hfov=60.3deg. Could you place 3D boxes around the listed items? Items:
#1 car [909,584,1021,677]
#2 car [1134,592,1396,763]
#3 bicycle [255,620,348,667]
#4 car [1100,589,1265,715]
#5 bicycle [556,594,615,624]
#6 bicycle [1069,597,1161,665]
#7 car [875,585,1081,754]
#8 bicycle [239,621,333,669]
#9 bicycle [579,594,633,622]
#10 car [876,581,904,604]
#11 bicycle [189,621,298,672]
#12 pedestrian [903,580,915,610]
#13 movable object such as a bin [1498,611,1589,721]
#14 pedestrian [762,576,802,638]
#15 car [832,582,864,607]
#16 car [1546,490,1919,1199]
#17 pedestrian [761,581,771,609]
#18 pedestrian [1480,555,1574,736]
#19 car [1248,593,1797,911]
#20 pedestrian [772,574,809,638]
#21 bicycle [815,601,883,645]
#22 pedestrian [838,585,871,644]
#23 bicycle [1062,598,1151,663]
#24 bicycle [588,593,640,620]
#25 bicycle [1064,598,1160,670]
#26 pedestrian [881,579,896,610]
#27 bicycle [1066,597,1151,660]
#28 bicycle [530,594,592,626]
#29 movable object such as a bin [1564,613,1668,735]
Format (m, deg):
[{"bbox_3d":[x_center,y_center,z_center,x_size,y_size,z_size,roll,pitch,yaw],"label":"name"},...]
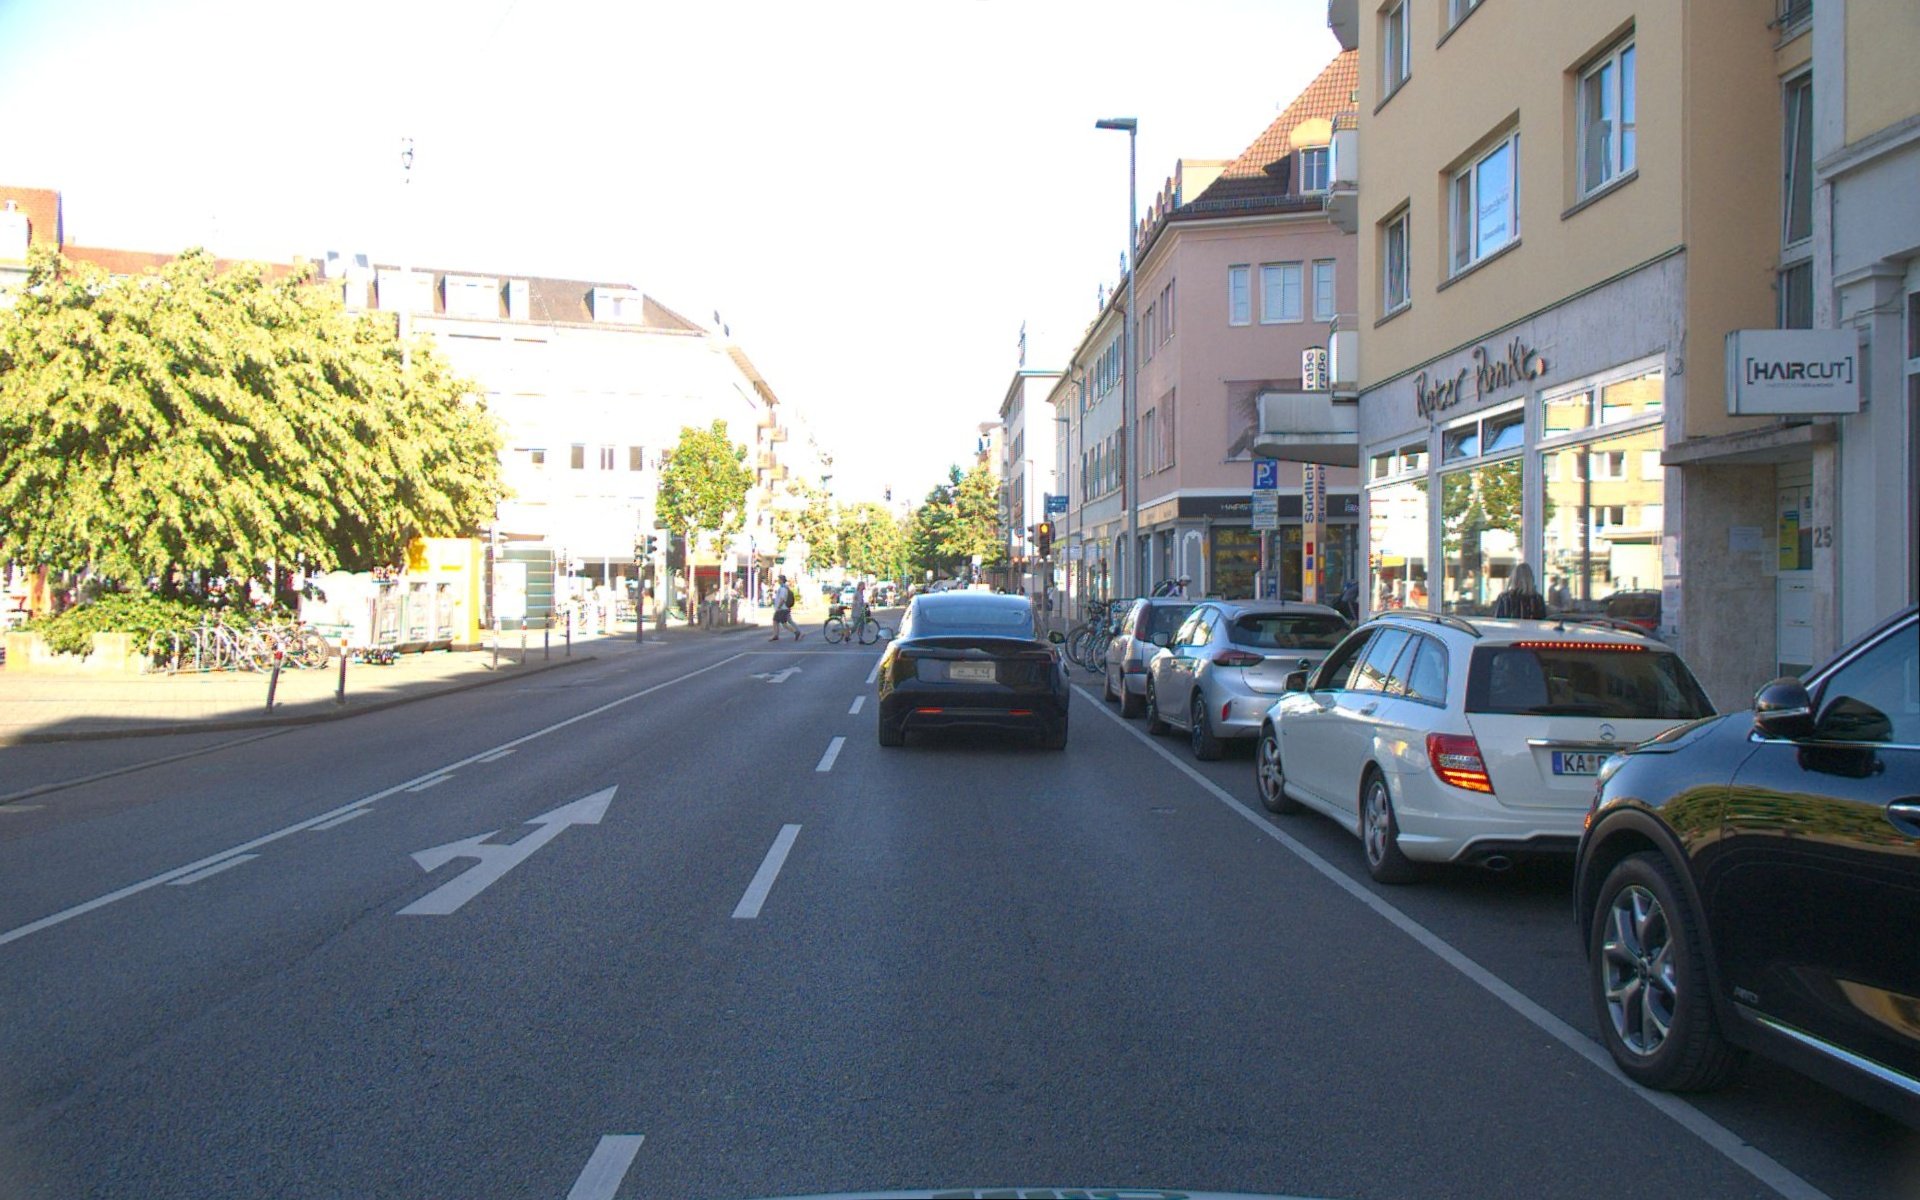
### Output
[{"bbox_3d":[0.090,0.484,28.754,1.812,1.480,3.786,1,0,0],"label":"car"},{"bbox_3d":[2.859,0.666,16.367,1.637,1.452,4.075,1,0,-3],"label":"car"},{"bbox_3d":[-11.635,0.767,29.246,1.442,0.782,0.475,1,0,2],"label":"bicycle"},{"bbox_3d":[2.728,0.589,21.002,1.588,1.419,3.886,1,0,0],"label":"car"},{"bbox_3d":[-14.152,0.339,62.488,2.040,1.123,0.806,1,0,-1],"label":"bicycle"},{"bbox_3d":[2.809,0.555,30.010,1.595,1.180,0.432,-1,0,-2],"label":"bicycle"},{"bbox_3d":[0.171,0.601,16.534,1.812,1.480,3.786,1,0,0],"label":"car"},{"bbox_3d":[-11.682,0.776,28.686,1.442,0.782,0.441,1,0,4],"label":"bicycle"},{"bbox_3d":[-14.394,0.325,67.260,2.040,1.123,0.806,1,0,-1],"label":"bicycle"},{"bbox_3d":[-5.365,-0.594,126.499,2.009,1.757,4.651,1,0,-3],"label":"car"},{"bbox_3d":[-11.820,0.761,27.295,1.621,0.782,0.475,1,0,8],"label":"bicycle"},{"bbox_3d":[-3.458,-0.349,111.804,0.614,2.049,0.559,1,0,24],"label":"pedestrian"},{"bbox_3d":[6.096,0.680,17.307,0.688,1.086,0.619,-2,0,-1],"label":"movable object such as a bin"},{"bbox_3d":[-4.857,0.182,45.129,0.965,1.665,0.737,1,0,3],"label":"pedestrian"},{"bbox_3d":[-7.791,-0.389,115.281,1.953,1.567,4.000,-3,0,-1],"label":"car"},{"bbox_3d":[3.135,0.635,3.714,1.720,1.767,4.568,1,0,-4],"label":"car"},{"bbox_3d":[-14.016,-0.364,119.428,0.613,2.049,0.707,1,0,-1],"label":"pedestrian"},{"bbox_3d":[5.387,0.423,15.737,0.648,1.661,0.628,-2,0,4],"label":"pedestrian"},{"bbox_3d":[3.052,0.711,10.044,1.703,1.472,4.463,1,0,-2],"label":"car"},{"bbox_3d":[-4.721,0.164,46.107,0.882,1.755,0.744,1,0,3],"label":"pedestrian"},{"bbox_3d":[-2.787,0.562,41.607,1.581,1.063,0.591,1,0,8],"label":"bicycle"},{"bbox_3d":[-2.682,0.360,42.095,0.727,1.465,0.583,1,0,7],"label":"pedestrian"},{"bbox_3d":[2.750,0.568,31.069,1.595,1.180,0.432,-1,0,-2],"label":"bicycle"},{"bbox_3d":[-14.524,0.269,69.453,2.040,1.123,0.806,1,0,-1],"label":"bicycle"},{"bbox_3d":[2.625,0.586,28.604,1.595,1.180,0.432,-1,0,-2],"label":"bicycle"},{"bbox_3d":[-4.916,-0.375,113.281,0.742,2.049,0.792,1,0,-26],"label":"pedestrian"},{"bbox_3d":[2.892,0.548,32.274,1.594,1.180,0.433,-1,0,0],"label":"bicycle"},{"bbox_3d":[-14.459,0.364,59.965,2.040,1.123,0.806,1,0,-1],"label":"bicycle"},{"bbox_3d":[6.160,0.683,15.545,0.688,1.086,0.619,-2,0,-1],"label":"movable object such as a bin"}]
